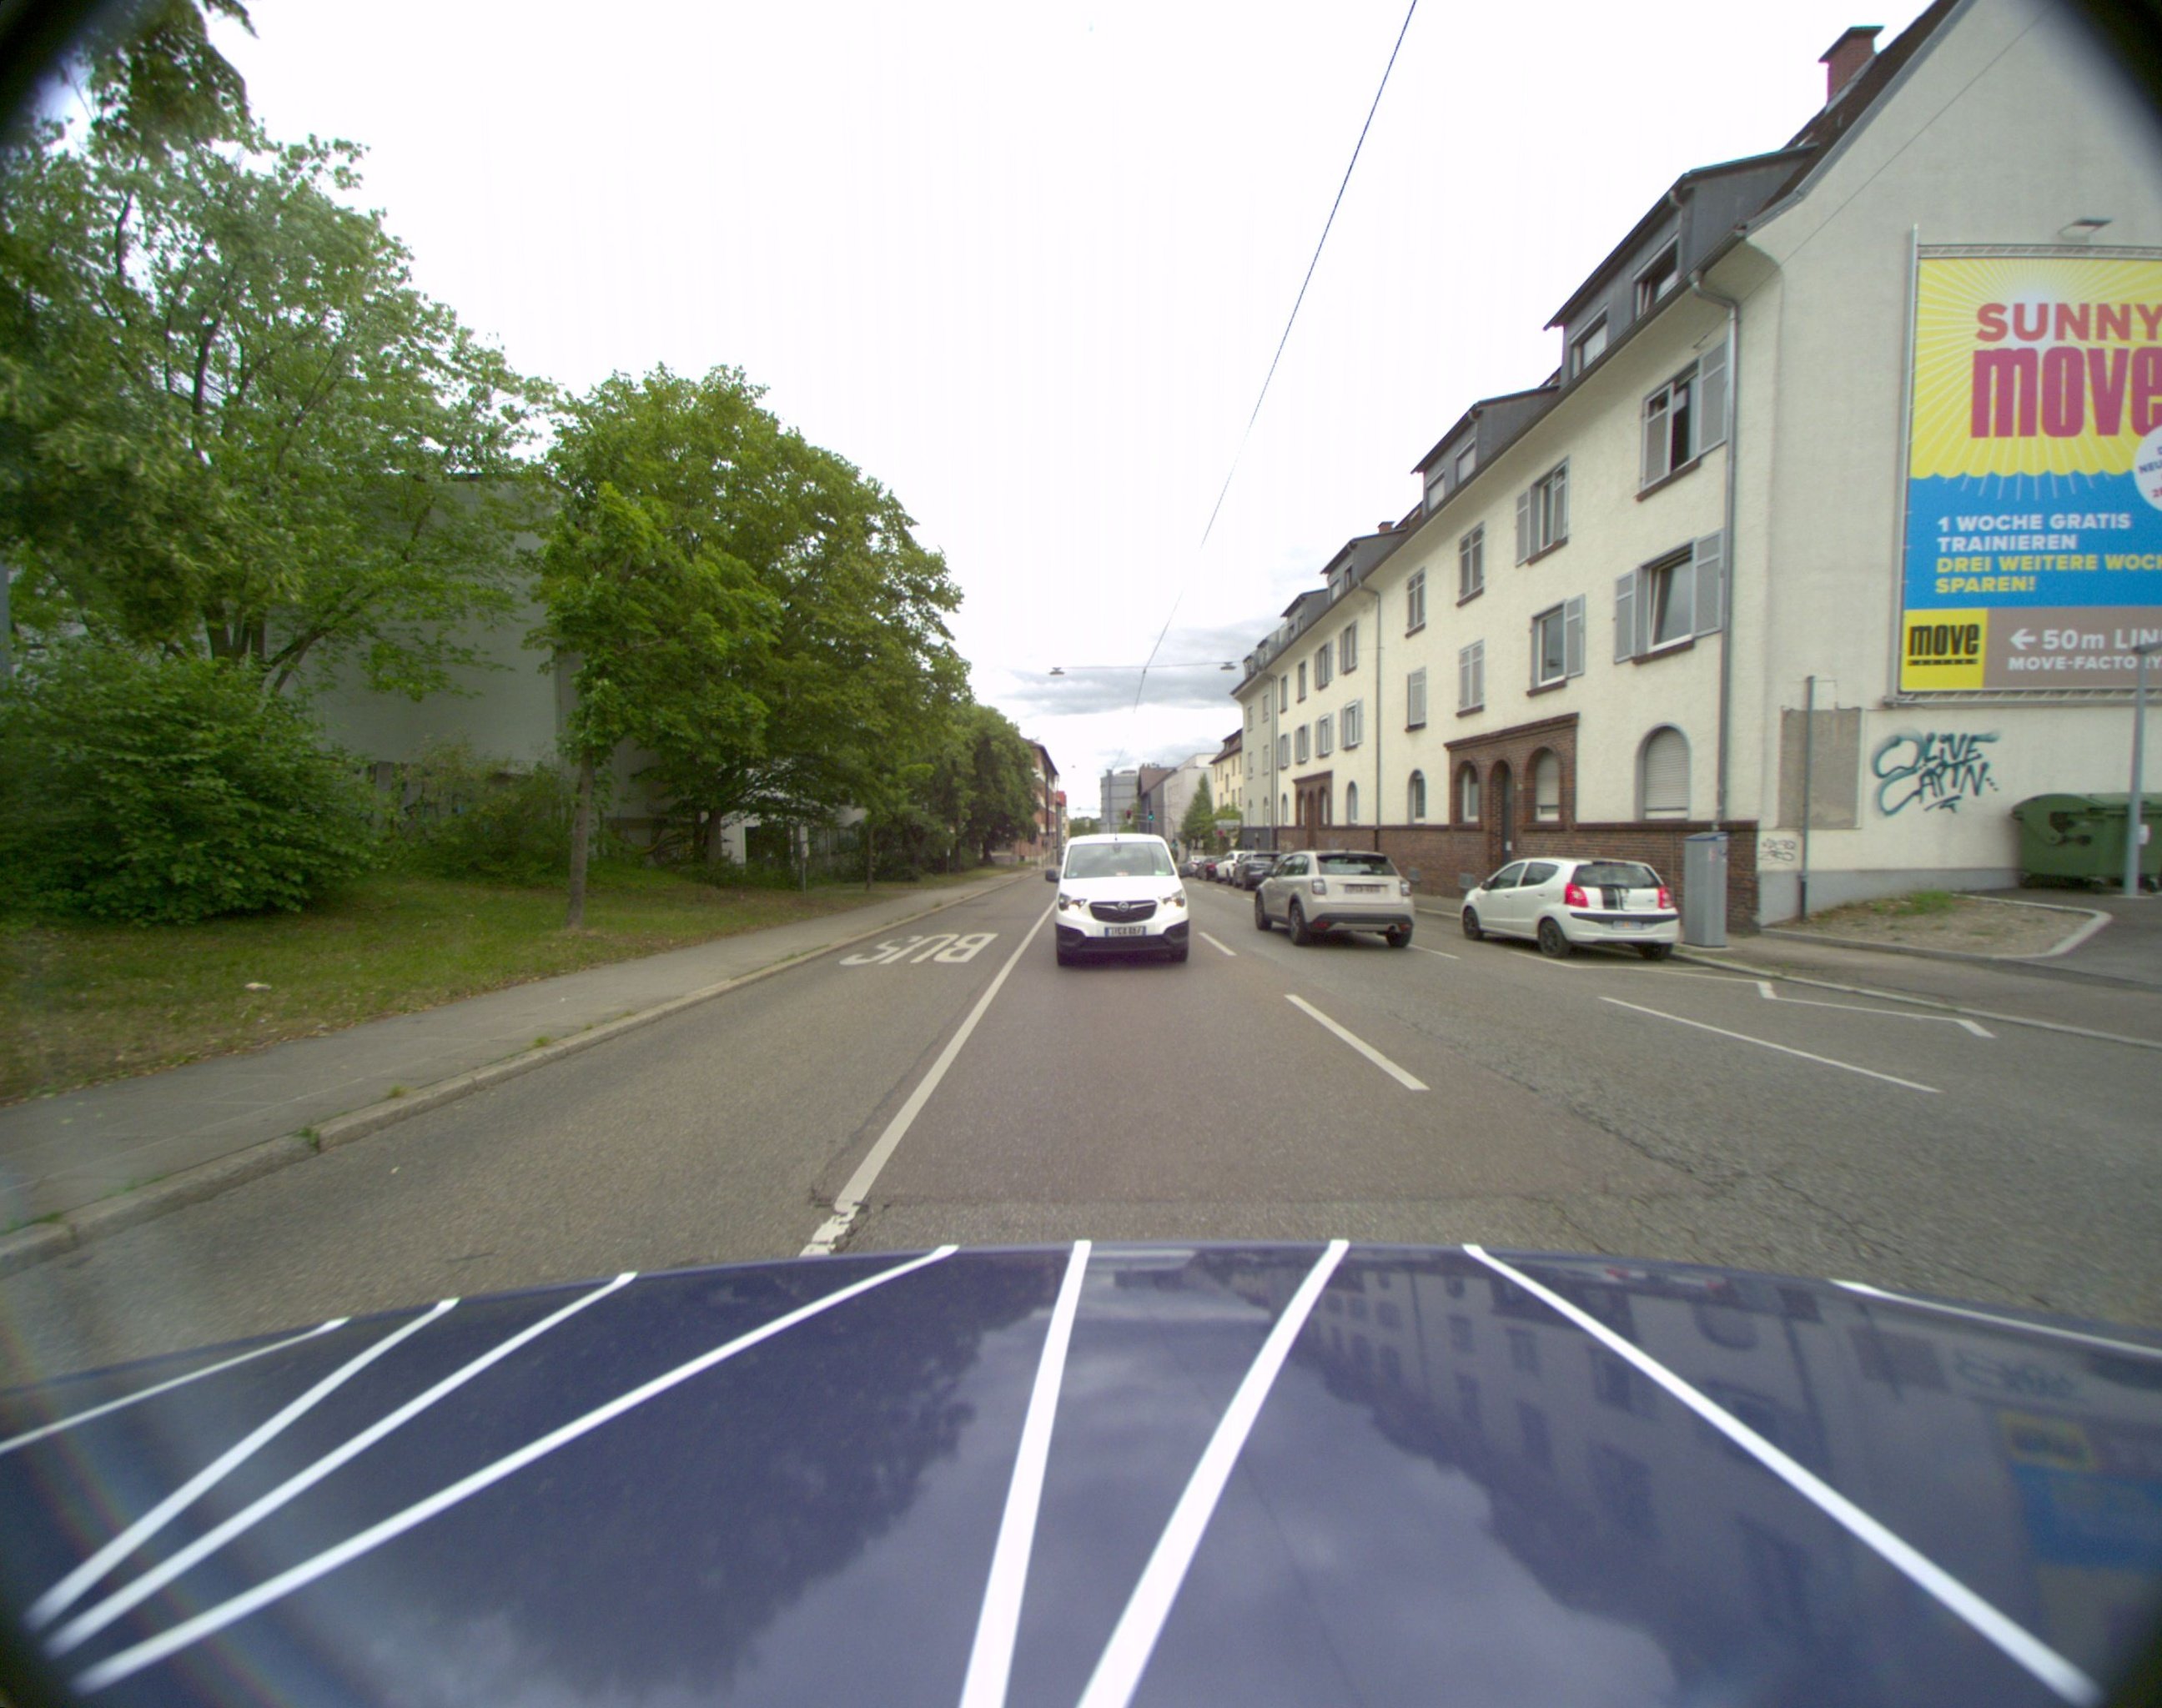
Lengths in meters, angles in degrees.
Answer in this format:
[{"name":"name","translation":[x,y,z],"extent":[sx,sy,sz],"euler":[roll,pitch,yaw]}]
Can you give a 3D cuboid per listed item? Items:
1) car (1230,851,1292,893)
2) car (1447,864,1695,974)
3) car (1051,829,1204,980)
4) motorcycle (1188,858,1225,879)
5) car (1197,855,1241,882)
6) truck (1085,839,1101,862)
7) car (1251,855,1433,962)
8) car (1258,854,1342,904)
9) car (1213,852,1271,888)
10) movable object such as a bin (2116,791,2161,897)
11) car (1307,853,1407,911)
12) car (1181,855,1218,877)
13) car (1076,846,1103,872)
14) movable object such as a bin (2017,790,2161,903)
[{"name":"car","translation":[7.375,0.694,31.493],"extent":[1.731,1.590,4.502],"euler":[0,0,3]},{"name":"car","translation":[7.447,0.897,12.015],"extent":[1.623,1.417,3.665],"euler":[0,0,1]},{"name":"car","translation":[0.621,0.673,11.602],"extent":[1.850,1.831,4.284],"euler":[-1,-1,1]},{"name":"motorcycle","translation":[7.737,0.904,46.828],"extent":[2.048,1.228,0.806],"euler":[2,0,-17]},{"name":"car","translation":[7.699,0.799,42.630],"extent":[1.731,1.421,4.191],"euler":[0,0,0]},{"name":"truck","translation":[1.906,-0.568,121.146],"extent":[2.545,3.478,8.521],"euler":[0,0,1]},{"name":"car","translation":[4.258,0.798,13.102],"extent":[1.802,1.516,4.000],"euler":[0,0,1]},{"name":"car","translation":[7.530,0.807,26.551],"extent":[1.731,1.549,4.081],"euler":[2,1,0]},{"name":"car","translation":[7.721,0.714,36.893],"extent":[1.850,1.612,4.643],"euler":[0,0,0]},{"name":"movable object such as a bin","translation":[16.161,-0.137,10.823],"extent":[1.268,1.529,1.104],"euler":[1,1,1]},{"name":"car","translation":[7.682,0.728,21.461],"extent":[1.551,1.466,3.603],"euler":[0,0,0]},{"name":"car","translation":[7.778,0.783,50.062],"extent":[1.731,1.366,4.337],"euler":[0,0,-1]},{"name":"car","translation":[0.626,0.366,56.139],"extent":[1.850,1.832,4.283],"euler":[-1,0,1]},{"name":"movable object such as a bin","translation":[14.743,-0.105,10.879],"extent":[1.268,1.529,1.104],"euler":[1,1,1]}]
